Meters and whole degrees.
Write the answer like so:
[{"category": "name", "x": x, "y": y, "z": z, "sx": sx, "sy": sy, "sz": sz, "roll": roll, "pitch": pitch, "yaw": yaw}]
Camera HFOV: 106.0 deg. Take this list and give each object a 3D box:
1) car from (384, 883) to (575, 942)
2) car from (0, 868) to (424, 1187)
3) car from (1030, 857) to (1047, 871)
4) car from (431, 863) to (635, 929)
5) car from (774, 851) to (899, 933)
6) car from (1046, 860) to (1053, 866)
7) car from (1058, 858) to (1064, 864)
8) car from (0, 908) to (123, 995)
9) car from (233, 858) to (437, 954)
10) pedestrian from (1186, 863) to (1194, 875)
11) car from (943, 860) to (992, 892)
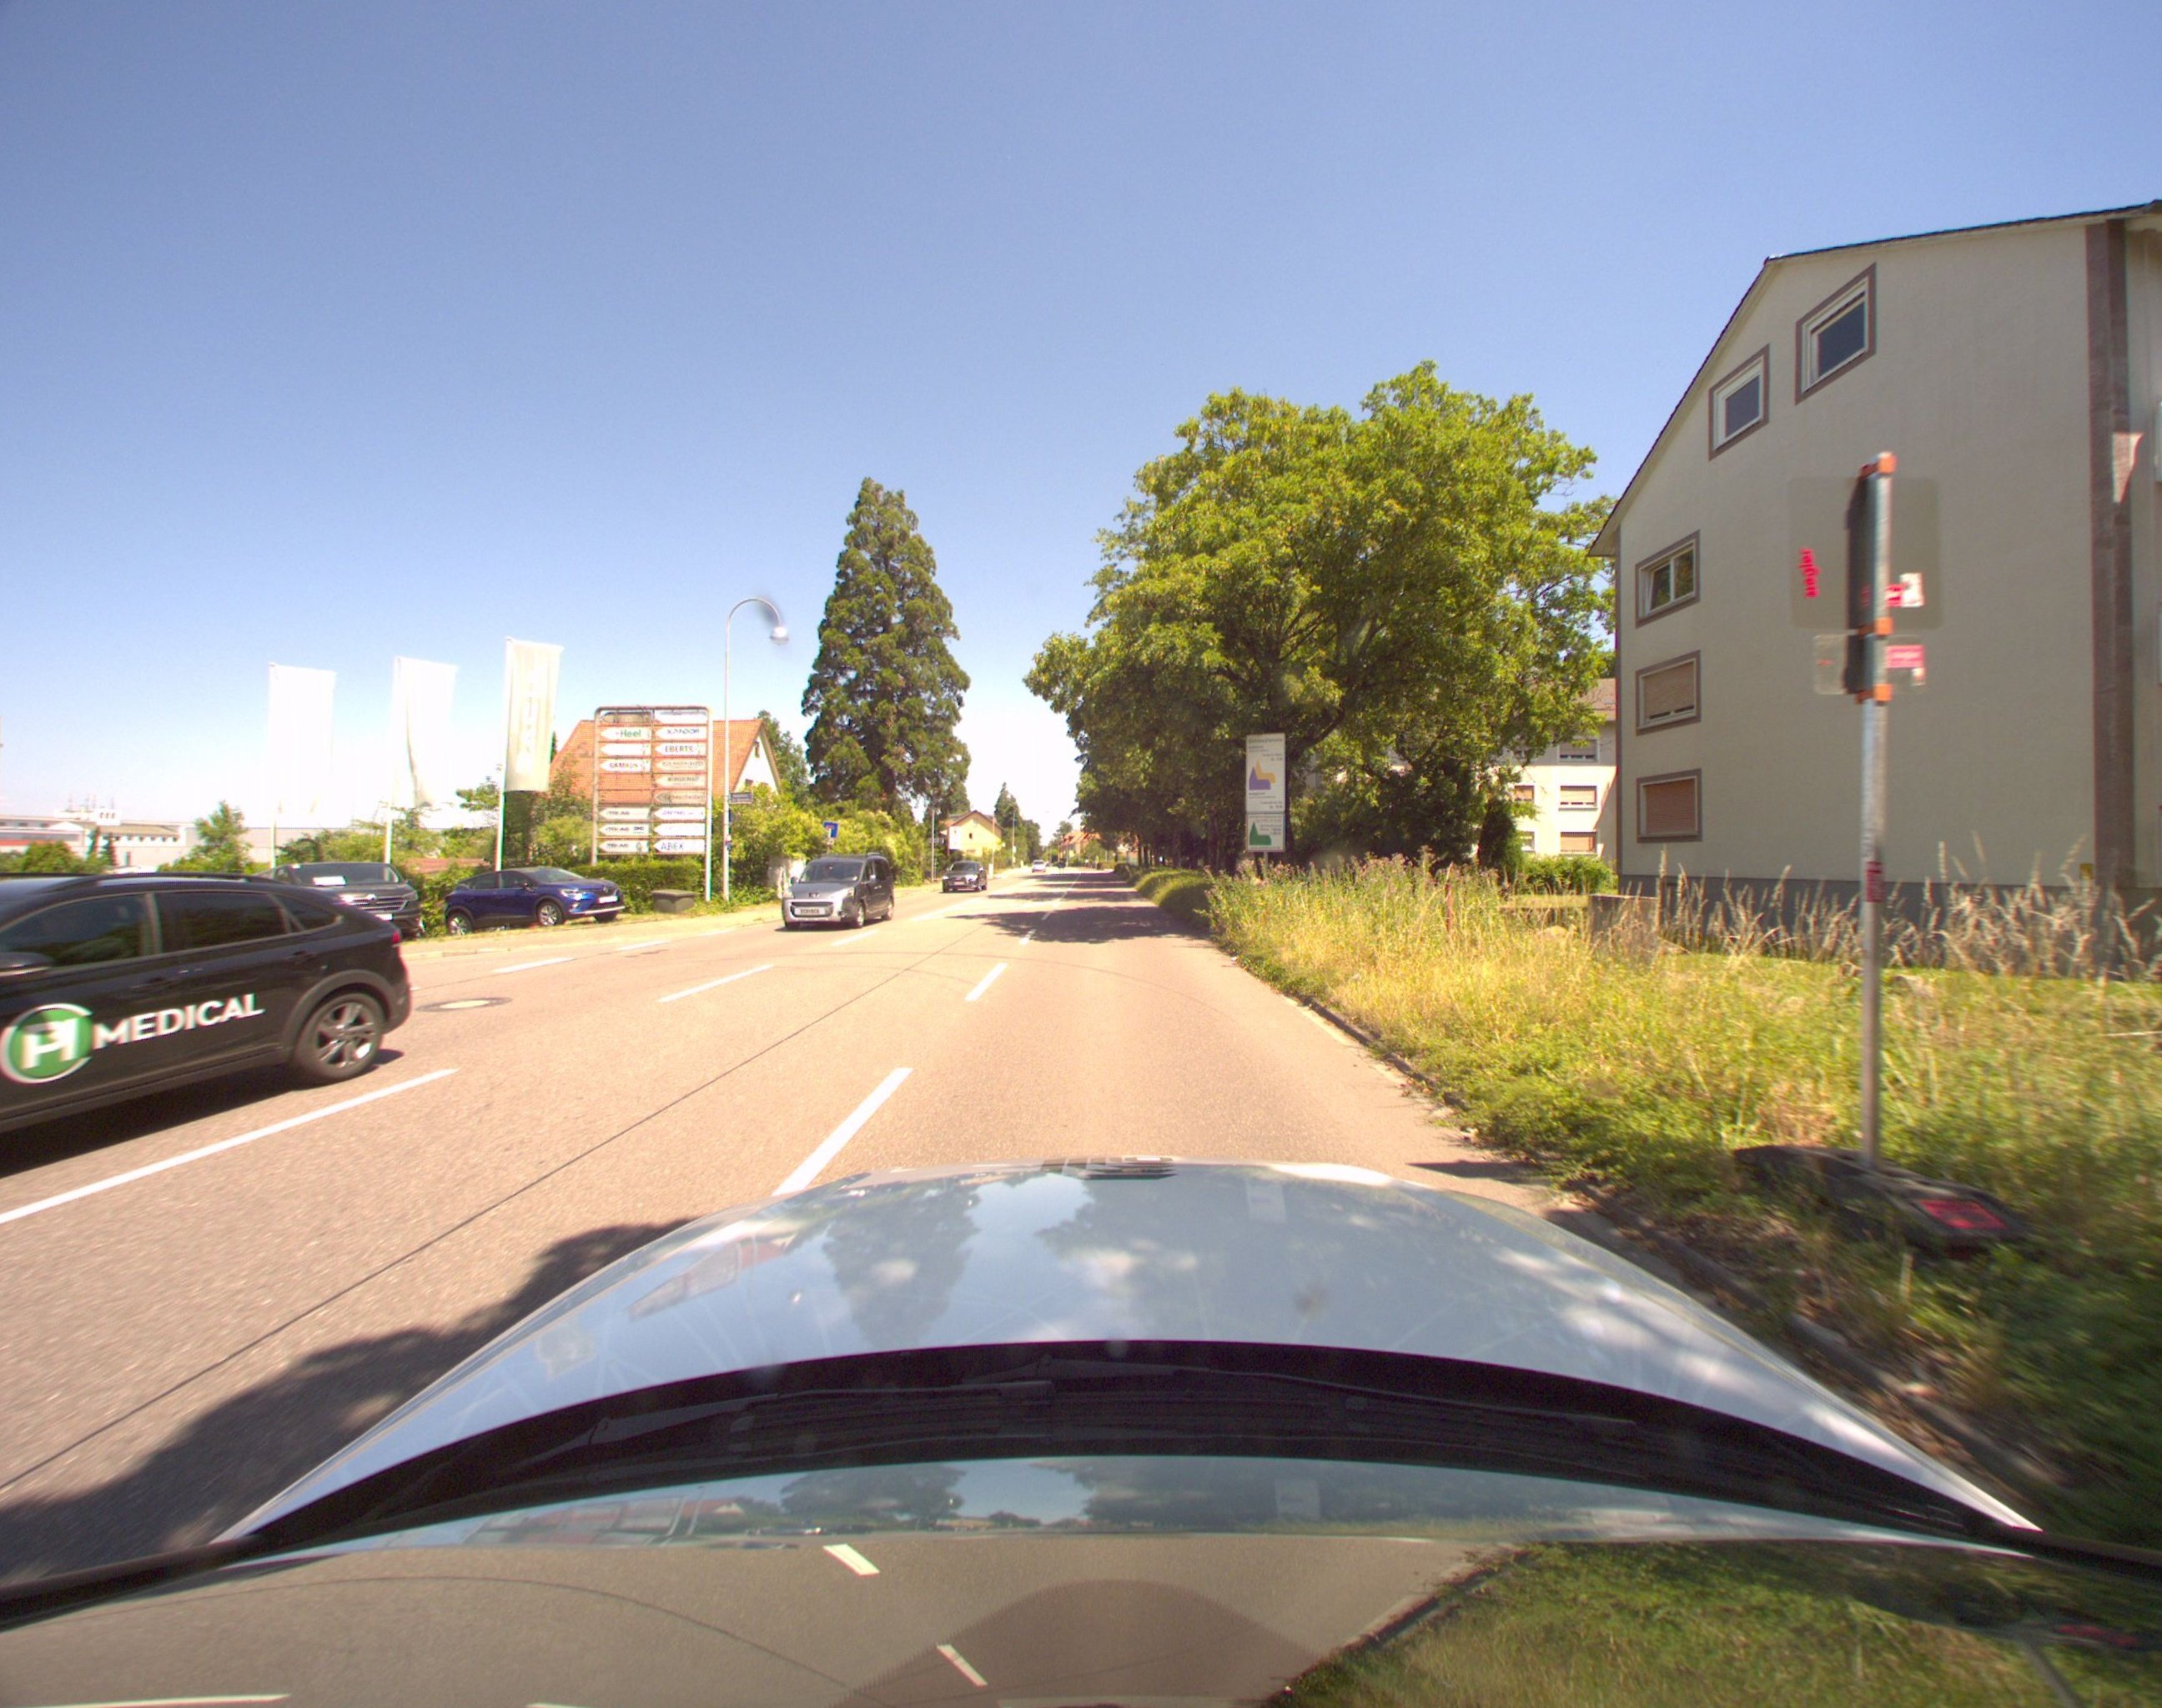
[{"category": "car", "x": -17.137, "y": 1.603, "z": 23.374, "sx": 1.656, "sy": 1.392, "sz": 4.121, "roll": -1, "pitch": -1, "yaw": 40}, {"category": "car", "x": -6.150, "y": 0.870, "z": 4.428, "sx": 1.863, "sy": 1.507, "sz": 4.051, "roll": -1, "pitch": 0, "yaw": 0}, {"category": "car", "x": -5.683, "y": 1.373, "z": 108.687, "sx": 1.906, "sy": 1.689, "sz": 4.126, "roll": -1, "pitch": 1, "yaw": 0}, {"category": "car", "x": -13.407, "y": 0.999, "z": 20.001, "sx": 4.107, "sy": 1.504, "sz": 1.783, "roll": -1, "pitch": -1, "yaw": 12}, {"category": "car", "x": -5.918, "y": 0.870, "z": 20.284, "sx": 1.806, "sy": 1.762, "sz": 4.567, "roll": -1, "pitch": -1, "yaw": -2}, {"category": "car", "x": -9.642, "y": 2.639, "z": 248.858, "sx": 1.808, "sy": 1.718, "sz": 4.002, "roll": 0, "pitch": -1, "yaw": 2}, {"category": "car", "x": -6.105, "y": 2.093, "z": 248.794, "sx": 1.808, "sy": 1.718, "sz": 4.002, "roll": 0, "pitch": -1, "yaw": 2}, {"category": "car", "x": -23.549, "y": 2.150, "z": 17.040, "sx": 1.794, "sy": 1.722, "sz": 4.108, "roll": -4, "pitch": -1, "yaw": 18}, {"category": "car", "x": -16.429, "y": 1.055, "z": 17.903, "sx": 4.400, "sy": 1.727, "sz": 2.077, "roll": -1, "pitch": 4, "yaw": 32}, {"category": "pedestrian", "x": 10.620, "y": 1.433, "z": 79.152, "sx": 0.701, "sy": 1.160, "sz": 0.755, "roll": 0, "pitch": -1, "yaw": 4}, {"category": "car", "x": -5.809, "y": 1.105, "z": 42.134, "sx": 1.787, "sy": 1.536, "sz": 4.316, "roll": -1, "pitch": 0, "yaw": 1}]
